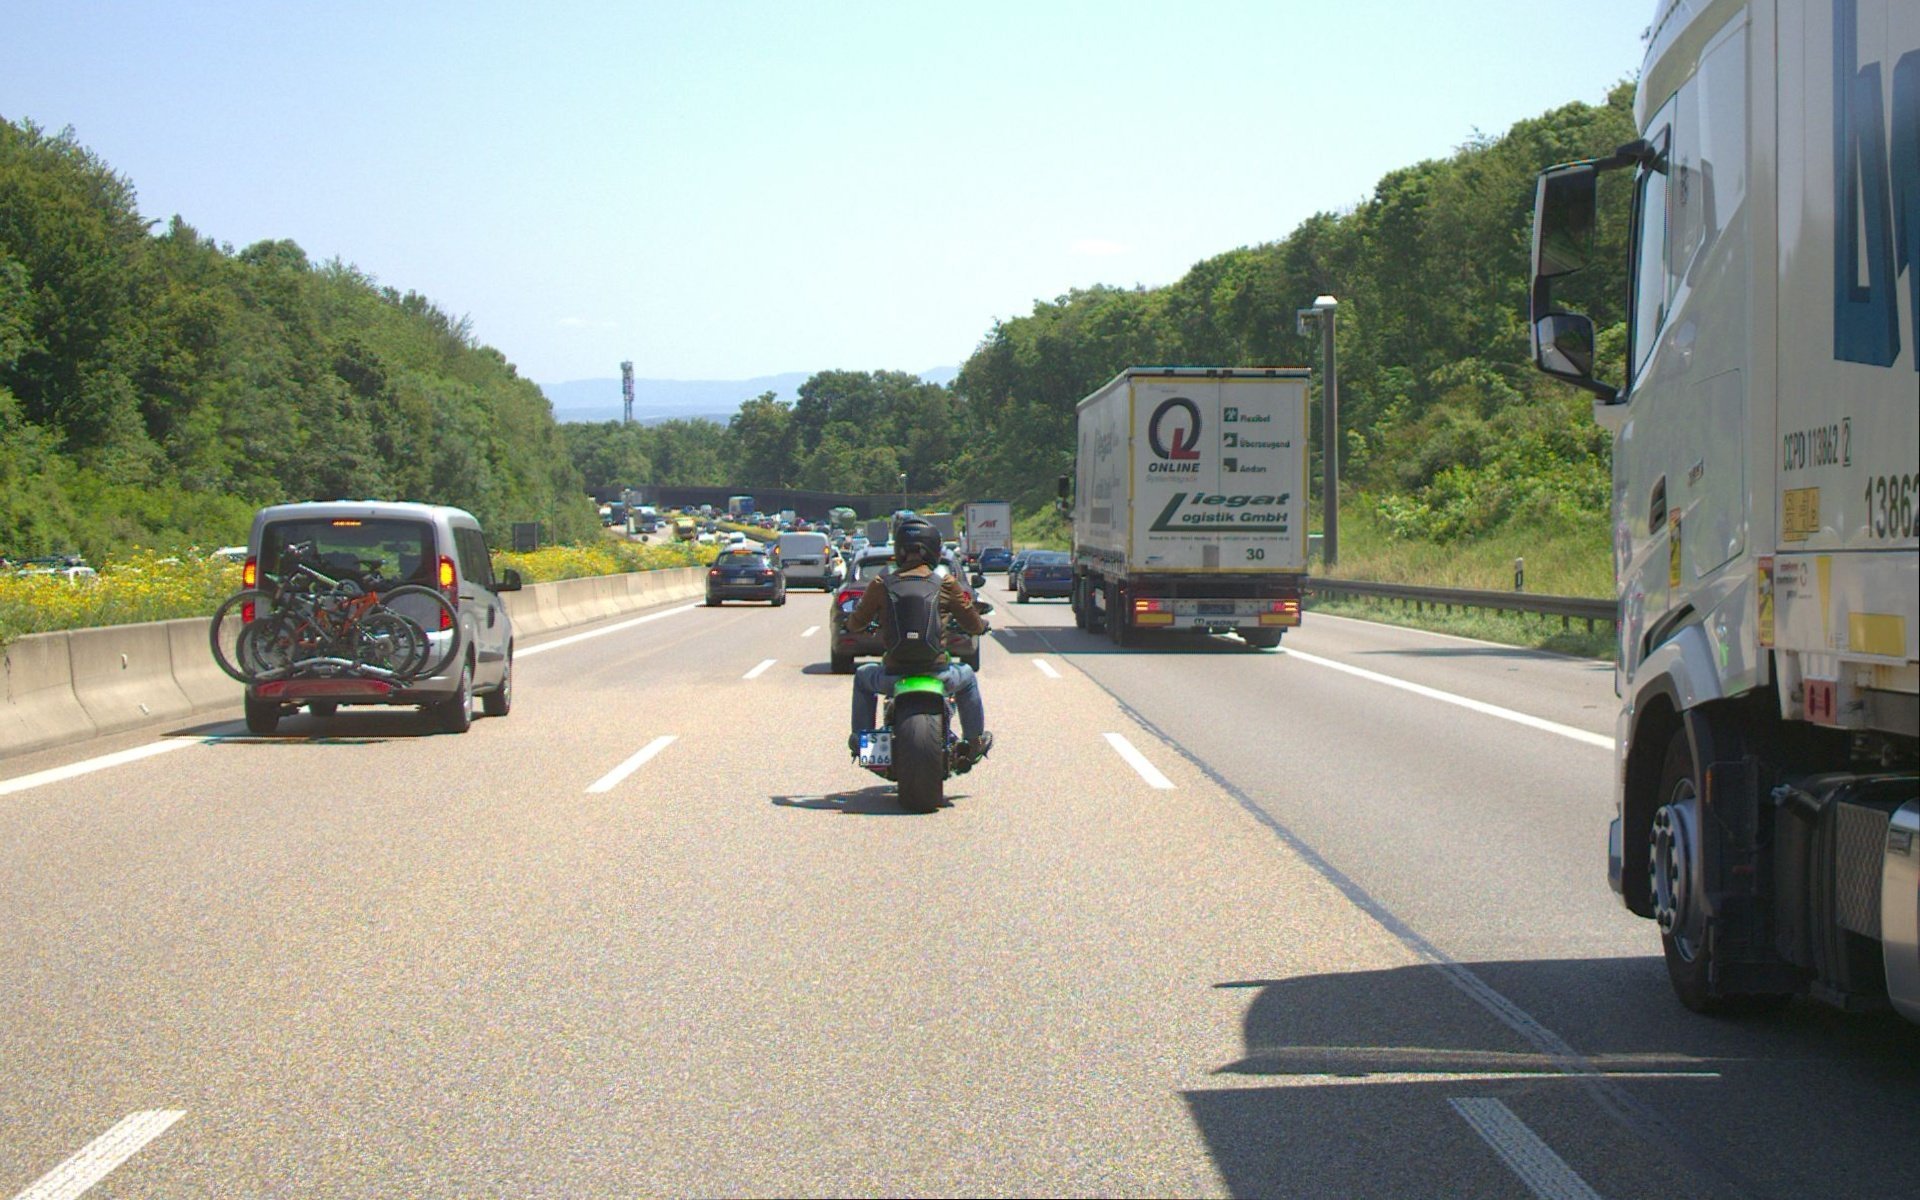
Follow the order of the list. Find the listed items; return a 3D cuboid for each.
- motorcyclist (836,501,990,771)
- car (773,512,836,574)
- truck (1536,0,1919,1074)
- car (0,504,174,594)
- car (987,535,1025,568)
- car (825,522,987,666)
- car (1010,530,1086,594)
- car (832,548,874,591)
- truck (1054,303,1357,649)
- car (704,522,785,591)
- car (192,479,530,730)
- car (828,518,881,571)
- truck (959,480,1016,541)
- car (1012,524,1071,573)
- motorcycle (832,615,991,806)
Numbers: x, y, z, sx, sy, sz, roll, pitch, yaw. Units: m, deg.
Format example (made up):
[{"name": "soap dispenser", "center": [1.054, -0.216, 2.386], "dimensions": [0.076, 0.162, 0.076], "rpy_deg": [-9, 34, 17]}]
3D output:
[{"name": "motorcyclist", "center": [-0.263, 0.190, 19.736], "dimensions": [0.856, 1.509, 0.914], "rpy_deg": [0, 1, 0]}, {"name": "car", "center": [-4.866, -1.812, 107.690], "dimensions": [1.831, 1.804, 4.120], "rpy_deg": [1, 2, -1]}, {"name": "truck", "center": [3.561, -0.914, 7.599], "dimensions": [2.680, 4.045, 10.627], "rpy_deg": [1, 2, 0]}, {"name": "car", "center": [-15.395, -0.921, 60.835], "dimensions": [1.937, 1.516, 4.203], "rpy_deg": [-1, 1, 1]}, {"name": "car", "center": [2.348, -2.486, 176.190], "dimensions": [1.831, 1.553, 4.120], "rpy_deg": [1, 2, -1]}, {"name": "car", "center": [-0.659, -0.123, 41.741], "dimensions": [1.845, 1.552, 4.440], "rpy_deg": [1, 2, -1]}, {"name": "car", "center": [2.308, -1.017, 91.321], "dimensions": [1.831, 1.553, 4.120], "rpy_deg": [1, 2, -1]}, {"name": "car", "center": [-4.899, -1.412, 158.089], "dimensions": [1.831, 1.804, 4.120], "rpy_deg": [1, 2, -1]}, {"name": "truck", "center": [3.653, -2.028, 56.578], "dimensions": [3.383, 4.701, 17.711], "rpy_deg": [2, 2, -1]}, {"name": "car", "center": [-5.205, -1.077, 83.551], "dimensions": [1.758, 1.538, 4.396], "rpy_deg": [1, 2, -1]}, {"name": "car", "center": [-4.799, -0.038, 28.308], "dimensions": [1.898, 1.841, 5.484], "rpy_deg": [1, 1, -1]}, {"name": "car", "center": [-3.828, -2.038, 124.947], "dimensions": [1.831, 1.804, 4.120], "rpy_deg": [1, 2, -1]}, {"name": "truck", "center": [1.557, -5.259, 200.163], "dimensions": [3.067, 3.335, 9.653], "rpy_deg": [2, 2, -1]}, {"name": "car", "center": [2.756, -1.768, 117.080], "dimensions": [1.831, 1.553, 4.120], "rpy_deg": [1, 2, -1]}, {"name": "motorcycle", "center": [-0.260, 0.611, 19.872], "dimensions": [0.862, 0.978, 2.131], "rpy_deg": [0, 1, 0]}]
